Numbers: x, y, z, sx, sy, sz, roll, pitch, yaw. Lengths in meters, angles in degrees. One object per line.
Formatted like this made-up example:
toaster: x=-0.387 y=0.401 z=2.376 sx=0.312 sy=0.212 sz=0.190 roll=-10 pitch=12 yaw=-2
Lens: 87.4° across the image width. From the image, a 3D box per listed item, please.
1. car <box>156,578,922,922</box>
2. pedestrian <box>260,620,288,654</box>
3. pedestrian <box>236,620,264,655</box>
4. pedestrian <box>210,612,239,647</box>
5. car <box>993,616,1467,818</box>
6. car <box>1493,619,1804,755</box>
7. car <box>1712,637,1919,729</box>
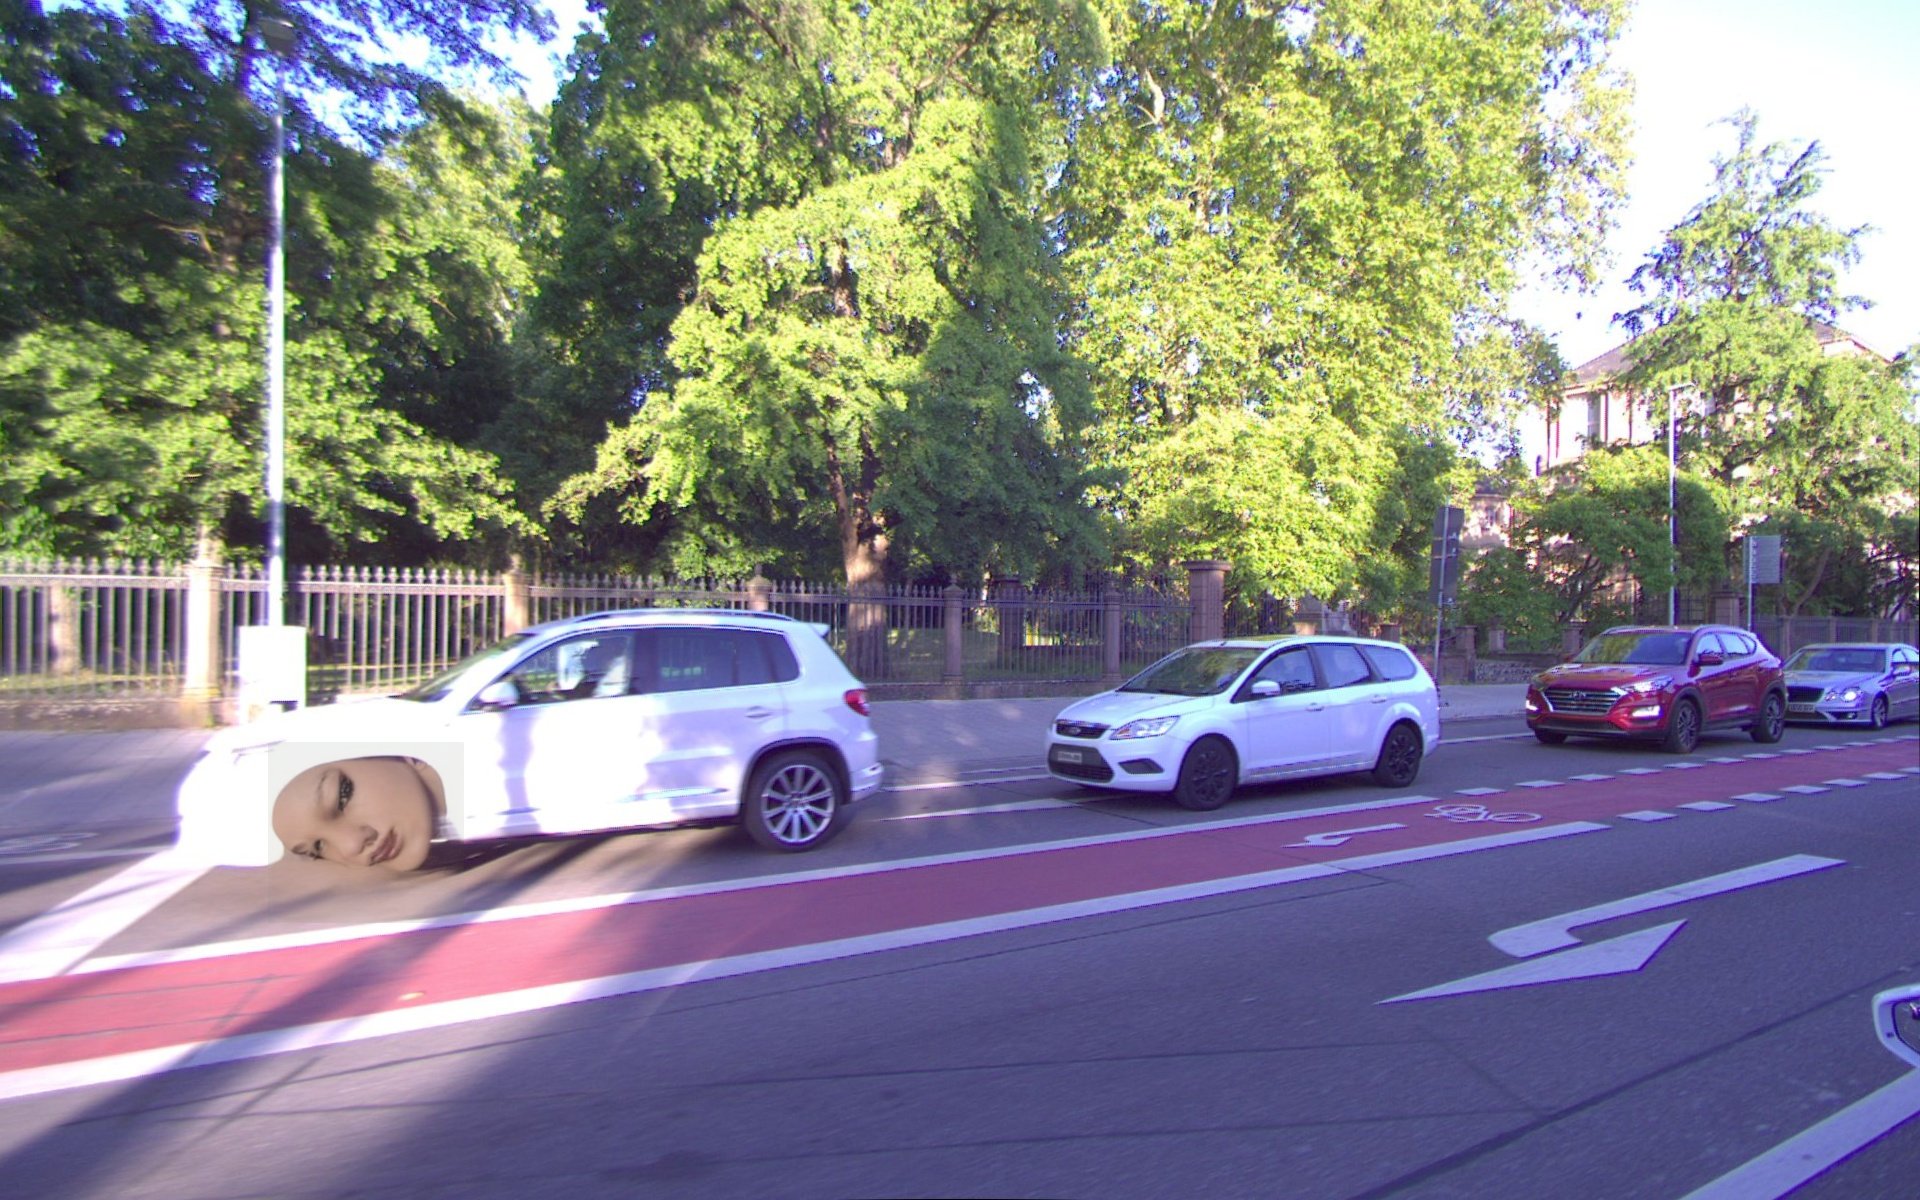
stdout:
car: x=-2.624 y=0.838 z=7.004 sx=4.376 sy=1.717 sz=1.907 roll=1 pitch=-3 yaw=-31
pedestrian: x=-33.947 y=1.816 z=49.726 sx=0.892 sy=1.682 sz=0.870 roll=1 pitch=-1 yaw=-20
pedestrian: x=-34.867 y=1.831 z=49.366 sx=0.892 sy=1.682 sz=0.870 roll=1 pitch=-1 yaw=-20
pedestrian: x=-35.981 y=1.445 z=49.121 sx=0.892 sy=1.682 sz=0.870 roll=1 pitch=-1 yaw=-20
car: x=2.773 y=1.022 z=10.014 sx=4.621 sy=1.604 sz=1.907 roll=1 pitch=-3 yaw=-31
car: x=9.813 y=1.152 z=14.244 sx=4.586 sy=1.646 sz=1.907 roll=1 pitch=-3 yaw=-31
car: x=15.459 y=1.386 z=17.688 sx=4.715 sy=1.436 sz=1.907 roll=1 pitch=-3 yaw=-31
